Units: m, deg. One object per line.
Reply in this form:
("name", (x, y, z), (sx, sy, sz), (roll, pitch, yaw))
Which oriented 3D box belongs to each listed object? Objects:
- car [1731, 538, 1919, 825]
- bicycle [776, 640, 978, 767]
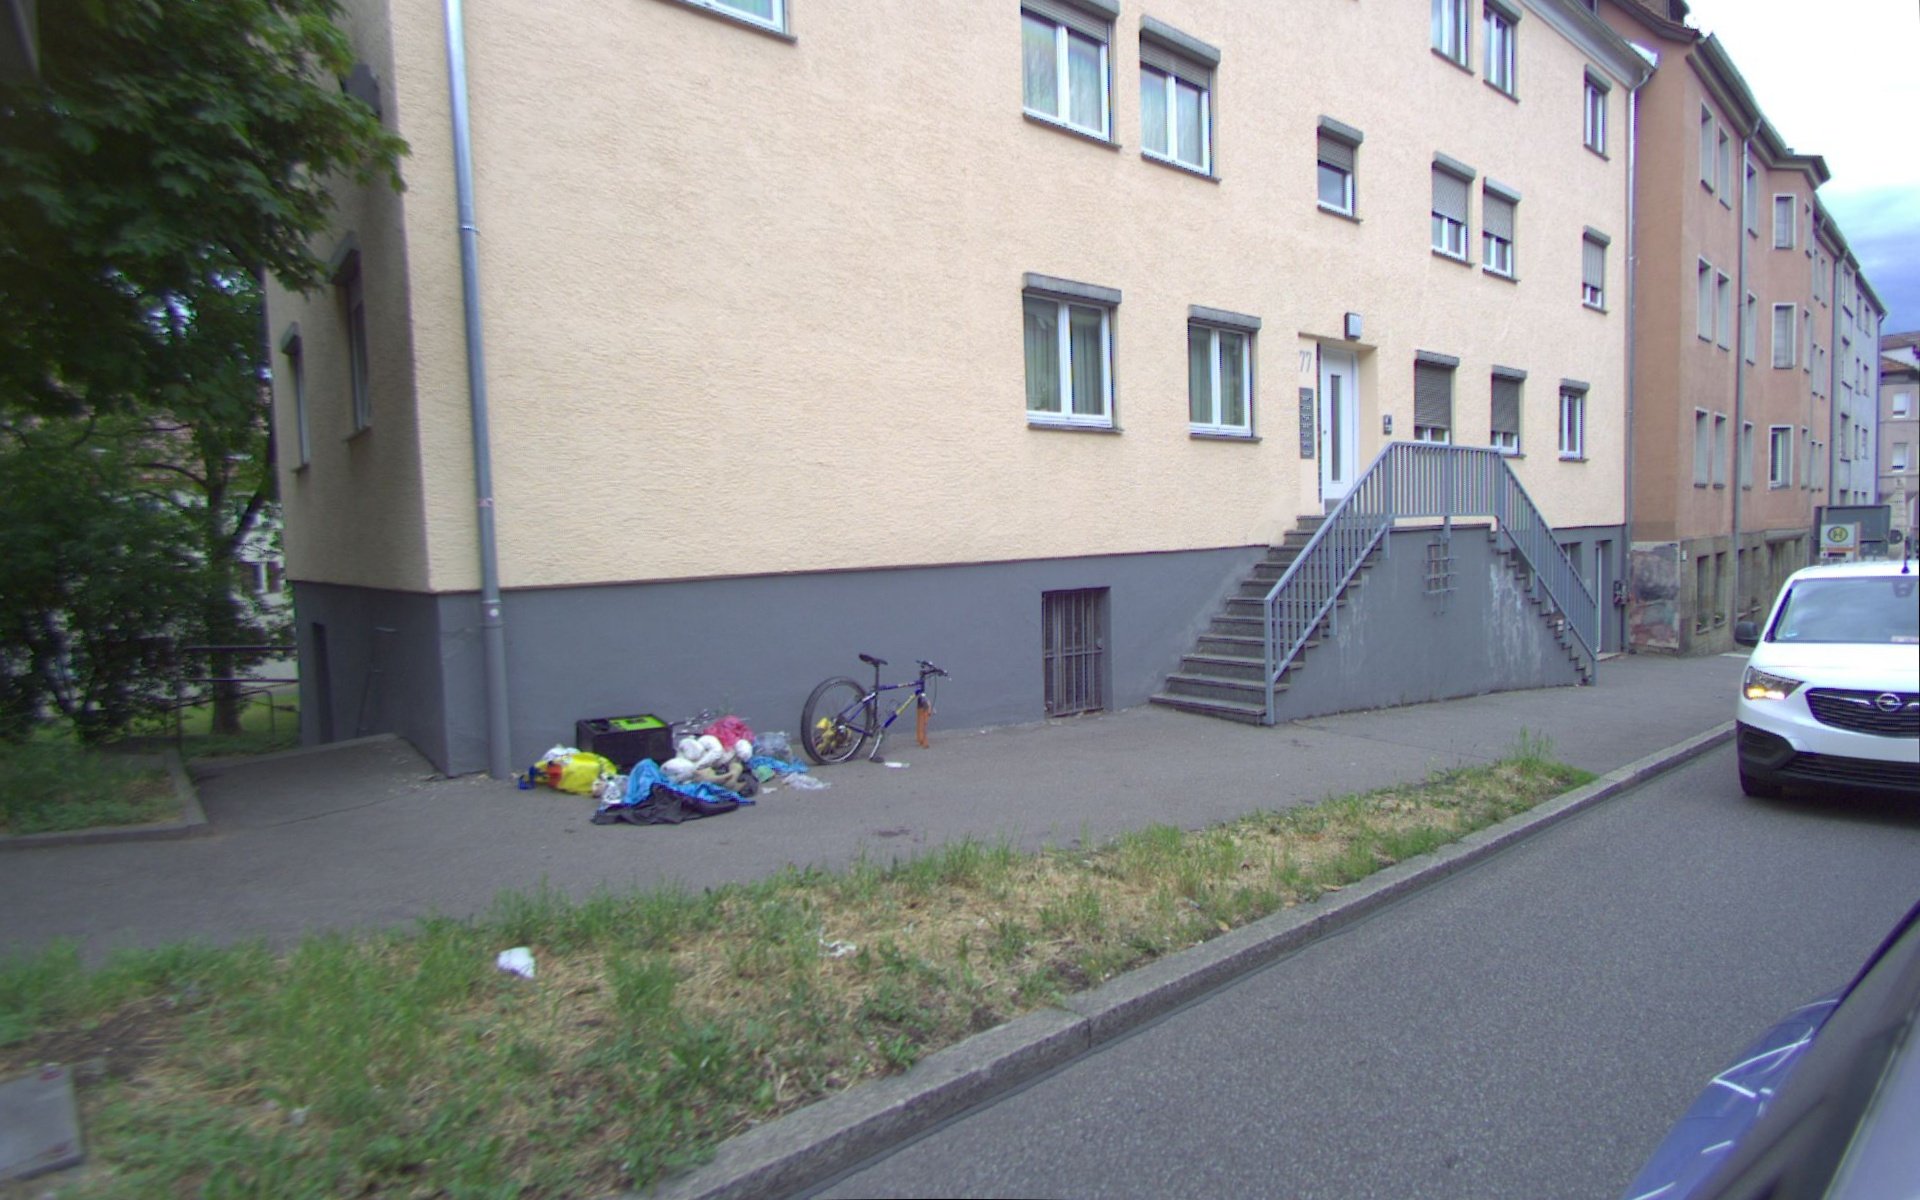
("car", (7.736, 0.466, 8.089), (4.764, 1.812, 1.785), (-2, 0, -44))
("bicycle", (-0.602, 0.743, 7.669), (1.530, 0.782, 0.489), (-1, 2, -40))
